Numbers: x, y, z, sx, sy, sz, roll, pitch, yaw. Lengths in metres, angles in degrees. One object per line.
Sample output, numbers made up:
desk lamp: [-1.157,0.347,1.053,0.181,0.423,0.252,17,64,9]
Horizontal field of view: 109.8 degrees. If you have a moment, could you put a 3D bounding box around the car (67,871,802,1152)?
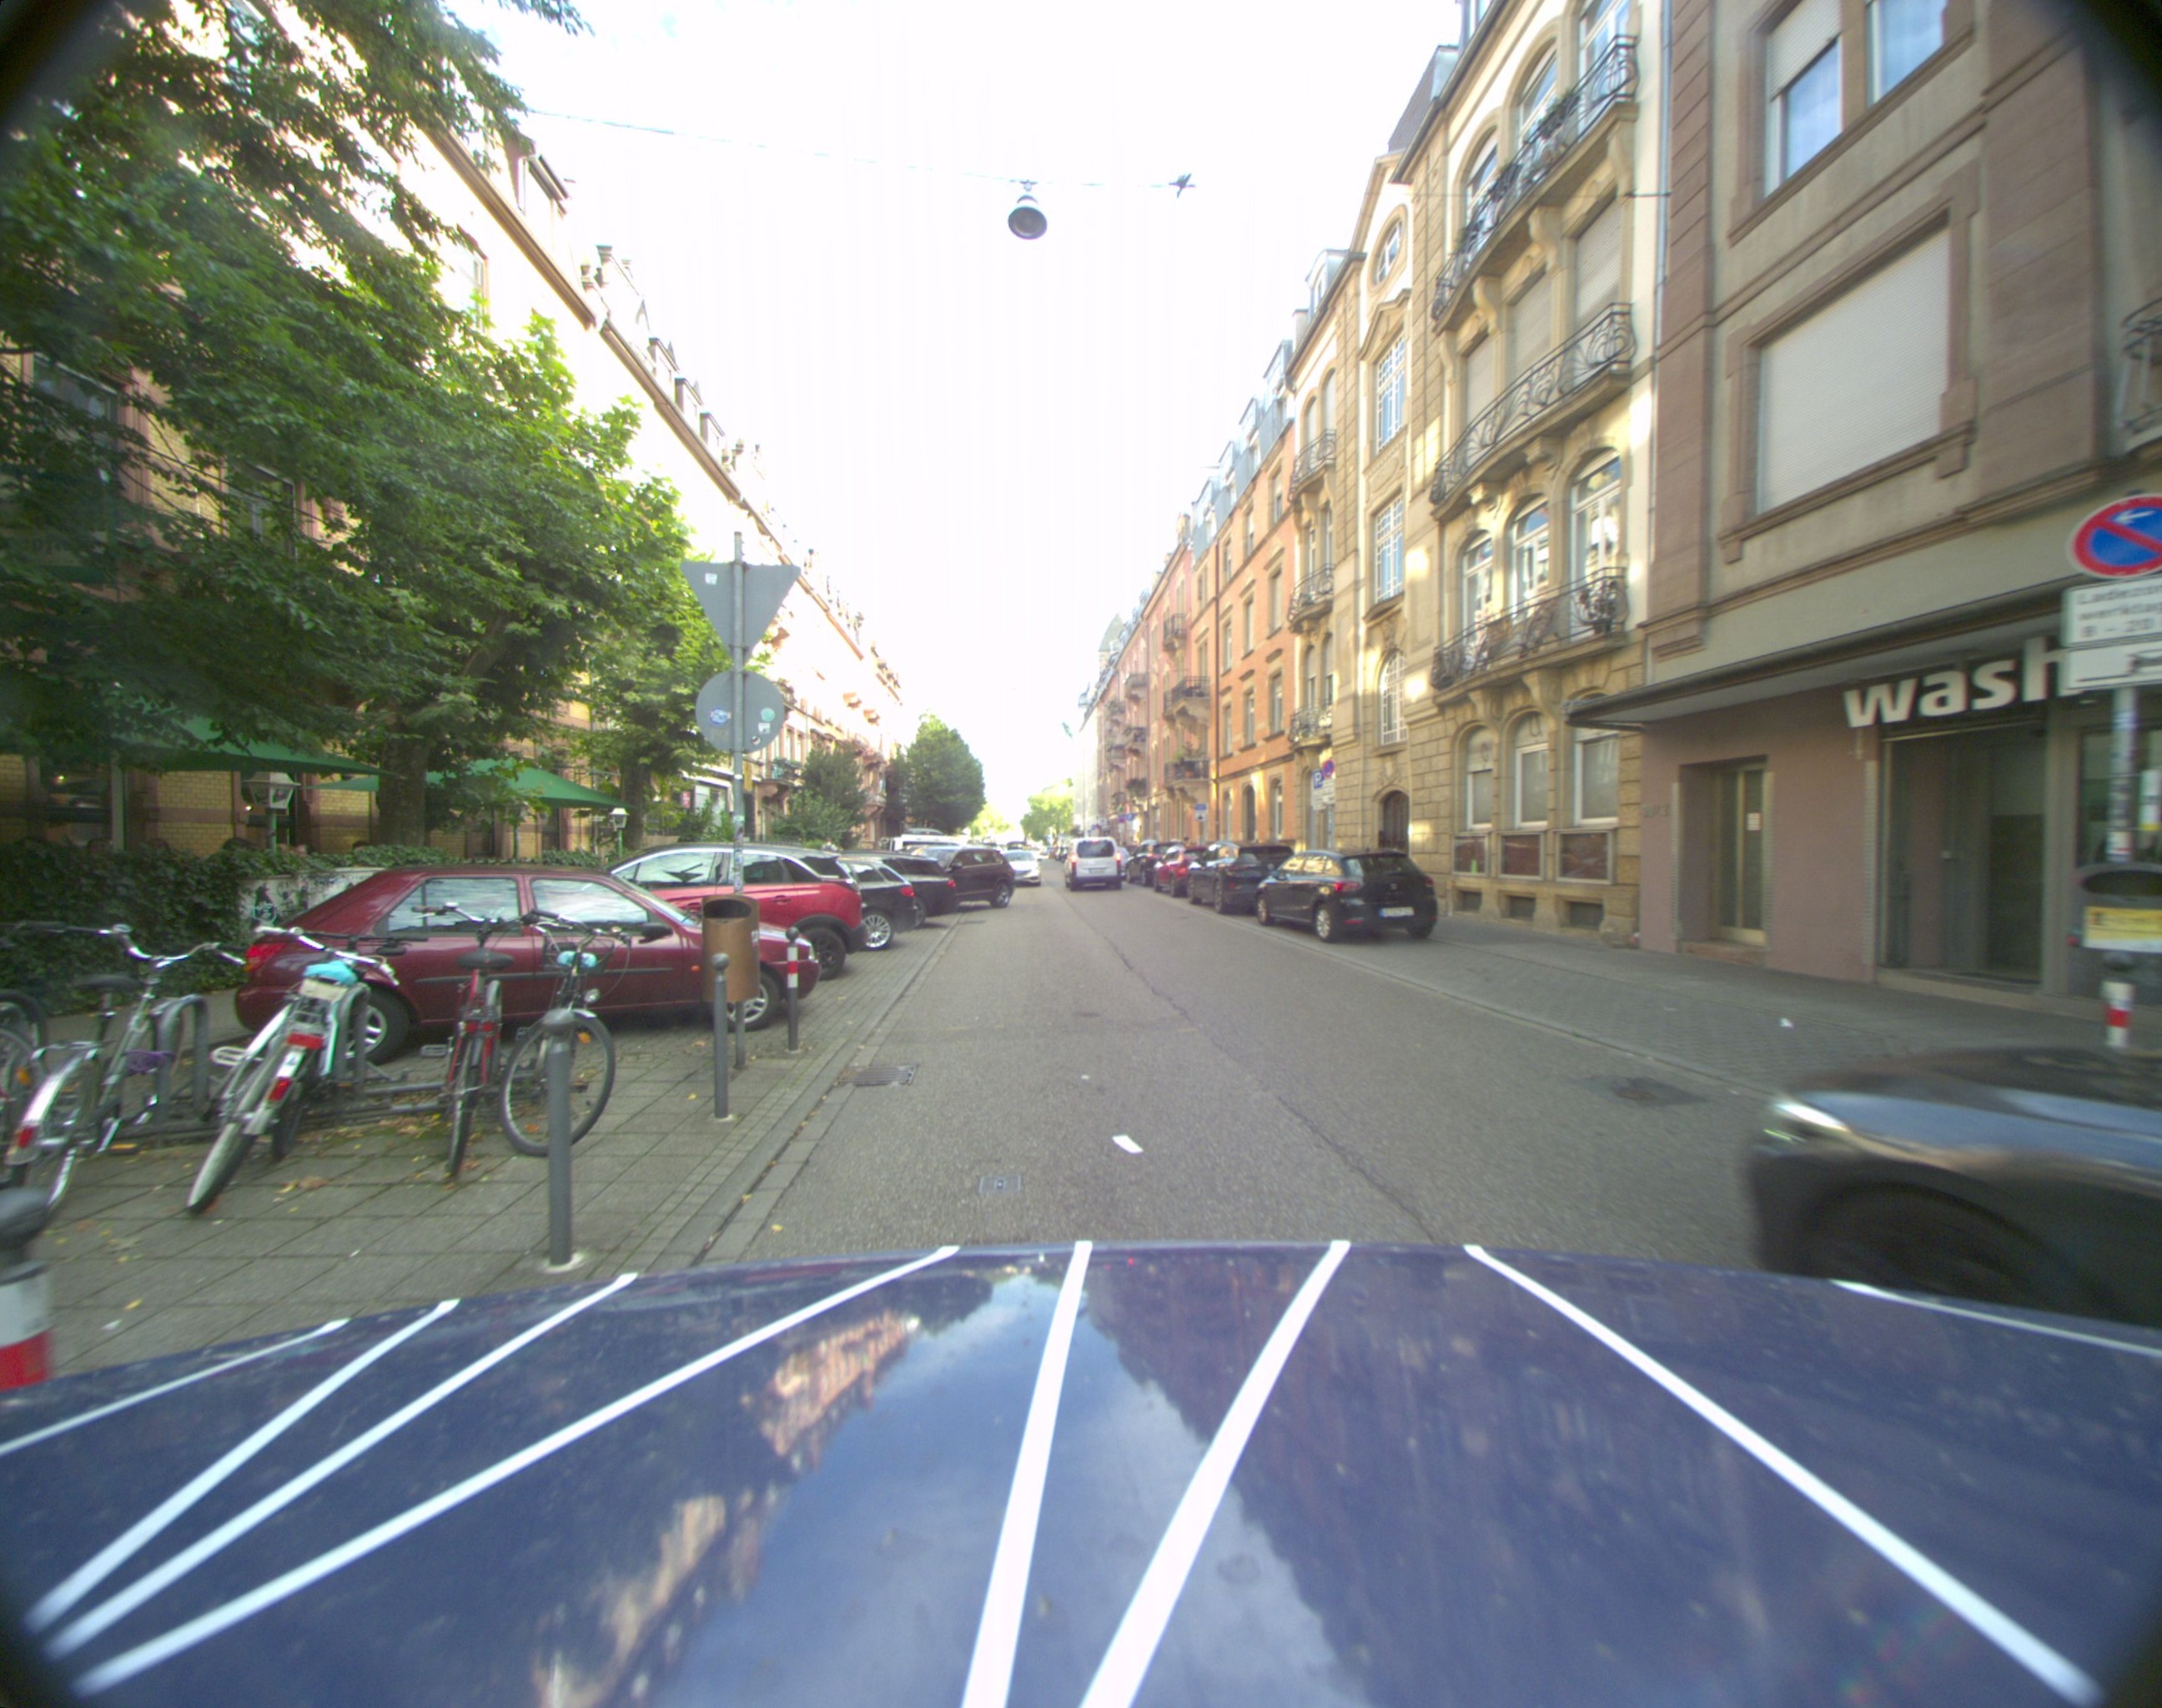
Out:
car: [-4.506,0.928,6.096,3.951,1.448,1.765,-1,1,-33]

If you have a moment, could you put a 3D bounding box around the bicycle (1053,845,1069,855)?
bicycle: [-2.373,-0.464,91.445,1.873,1.168,0.687,-2,2,-3]

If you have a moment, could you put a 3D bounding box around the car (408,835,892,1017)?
car: [-4.613,0.694,8.722,4.363,1.635,1.817,2,0,-31]

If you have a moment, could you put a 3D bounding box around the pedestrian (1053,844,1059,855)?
pedestrian: [-3.030,-0.542,93.098,0.739,1.341,0.644,-2,2,-2]

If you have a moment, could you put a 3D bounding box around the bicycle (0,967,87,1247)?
bicycle: [-4.253,1.061,2.616,0.390,1.034,1.915,3,0,-34]

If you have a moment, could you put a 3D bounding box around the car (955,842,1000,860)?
car: [-10.095,-0.290,74.323,4.008,1.689,1.847,0,0,-40]

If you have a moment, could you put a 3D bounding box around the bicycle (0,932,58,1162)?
bicycle: [-5.095,0.966,3.187,0.355,1.067,1.793,3,0,-34]

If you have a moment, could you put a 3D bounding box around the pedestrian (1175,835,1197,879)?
pedestrian: [4.408,0.114,31.900,0.758,1.798,0.863,-2,2,-1]

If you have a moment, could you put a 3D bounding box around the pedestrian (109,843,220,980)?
pedestrian: [-11.261,0.691,9.356,0.648,1.633,0.563,2,1,-9]

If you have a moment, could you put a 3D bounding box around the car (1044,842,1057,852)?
car: [-4.910,-1.114,121.099,1.912,1.412,3.997,-2,1,-5]

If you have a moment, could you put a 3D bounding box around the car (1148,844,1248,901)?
car: [3.452,0.481,23.297,1.999,1.536,4.423,0,1,-6]

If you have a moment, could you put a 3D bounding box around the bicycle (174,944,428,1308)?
bicycle: [-3.599,1.086,3.661,0.348,1.034,2.012,3,0,-32]

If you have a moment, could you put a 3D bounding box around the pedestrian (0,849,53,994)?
pedestrian: [-11.938,0.724,8.279,0.630,1.561,0.570,0,1,-9]

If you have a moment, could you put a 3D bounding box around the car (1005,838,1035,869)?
car: [-4.054,-0.071,50.864,1.811,1.915,3.998,-3,1,-4]

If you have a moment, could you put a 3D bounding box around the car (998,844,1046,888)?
car: [-2.439,0.455,31.648,1.811,1.622,3.998,-3,1,-4]

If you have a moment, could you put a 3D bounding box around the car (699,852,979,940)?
car: [-4.603,0.745,14.721,4.777,1.448,2.051,2,-1,-33]

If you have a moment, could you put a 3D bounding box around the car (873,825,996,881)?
car: [-6.589,-0.066,34.450,5.170,2.391,1.912,0,1,-38]

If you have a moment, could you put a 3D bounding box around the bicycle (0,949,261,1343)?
bicycle: [-4.130,1.051,3.214,0.446,1.034,1.900,3,0,-34]

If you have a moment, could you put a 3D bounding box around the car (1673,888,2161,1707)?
car: [3.103,0.907,0.456,1.756,1.428,4.206,-1,2,-11]

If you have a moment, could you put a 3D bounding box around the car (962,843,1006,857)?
car: [-11.517,-0.483,90.538,4.818,1.535,1.865,1,1,-37]

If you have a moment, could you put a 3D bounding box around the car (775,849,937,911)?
car: [-5.908,0.650,20.169,3.728,1.476,1.736,1,0,-43]

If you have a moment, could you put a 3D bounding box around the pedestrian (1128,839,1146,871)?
pedestrian: [2.892,0.060,39.502,0.683,1.652,0.550,-3,2,-35]

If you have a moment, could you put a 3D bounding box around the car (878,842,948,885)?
car: [-6.924,0.415,31.330,2.473,1.656,1.343,3,-1,-31]

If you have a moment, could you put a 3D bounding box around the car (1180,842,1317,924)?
car: [3.715,0.544,17.831,1.796,1.619,4.844,0,1,-5]

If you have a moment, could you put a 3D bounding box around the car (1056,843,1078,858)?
car: [-1.489,-0.366,78.675,1.675,1.407,4.008,-2,1,-8]

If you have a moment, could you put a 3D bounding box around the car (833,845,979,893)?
car: [-5.889,0.536,25.969,4.479,1.468,1.884,3,-1,-44]

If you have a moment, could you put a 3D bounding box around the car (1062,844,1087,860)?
car: [-0.626,-0.175,68.858,1.817,1.343,5.111,-1,1,-6]

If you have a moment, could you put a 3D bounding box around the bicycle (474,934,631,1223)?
bicycle: [-2.906,1.072,4.223,0.551,1.034,1.852,3,0,-34]

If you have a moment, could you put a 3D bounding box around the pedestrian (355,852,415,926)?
pedestrian: [-11.951,0.590,13.056,0.489,1.212,0.649,2,1,-13]

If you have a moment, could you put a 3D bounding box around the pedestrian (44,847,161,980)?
pedestrian: [-11.917,0.697,9.277,0.630,1.561,0.570,0,1,-9]

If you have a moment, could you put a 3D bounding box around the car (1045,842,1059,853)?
car: [-4.386,-1.020,114.981,1.829,1.477,4.167,-2,1,-5]

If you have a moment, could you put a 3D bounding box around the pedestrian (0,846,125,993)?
pedestrian: [-11.240,0.691,8.375,0.630,1.561,0.570,0,1,-9]

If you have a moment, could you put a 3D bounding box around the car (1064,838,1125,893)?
car: [0.400,0.346,27.710,1.923,1.818,4.436,-2,1,-2]

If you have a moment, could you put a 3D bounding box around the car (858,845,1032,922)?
car: [-3.298,0.647,19.373,1.871,1.644,4.394,-1,1,32]

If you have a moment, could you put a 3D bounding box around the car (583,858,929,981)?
car: [-4.727,0.828,11.391,4.422,1.448,1.938,-1,1,-29]

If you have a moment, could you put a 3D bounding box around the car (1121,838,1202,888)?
car: [2.950,0.308,29.006,1.879,1.671,4.890,-2,1,-8]

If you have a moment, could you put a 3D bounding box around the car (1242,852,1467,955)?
car: [4.381,0.691,13.000,1.999,1.412,4.241,0,1,-6]

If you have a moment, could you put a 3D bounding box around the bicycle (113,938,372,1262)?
bicycle: [-4.084,1.055,3.835,0.348,1.034,1.852,3,0,-32]

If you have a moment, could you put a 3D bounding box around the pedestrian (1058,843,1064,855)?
pedestrian: [-2.434,-0.588,92.567,0.690,1.365,0.739,-2,2,-1]

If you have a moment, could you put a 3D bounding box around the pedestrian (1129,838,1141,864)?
pedestrian: [3.567,-0.189,50.320,0.665,1.686,0.763,-2,2,-5]

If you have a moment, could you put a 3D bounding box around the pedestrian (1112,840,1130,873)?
pedestrian: [2.078,0.118,39.685,0.566,1.699,0.666,-3,2,-40]

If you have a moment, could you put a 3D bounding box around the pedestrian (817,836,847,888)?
pedestrian: [-9.076,0.297,27.726,0.841,1.867,0.722,0,1,-1]

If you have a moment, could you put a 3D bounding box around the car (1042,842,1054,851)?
car: [-5.520,-1.229,127.239,1.912,1.412,3.997,-2,1,-5]

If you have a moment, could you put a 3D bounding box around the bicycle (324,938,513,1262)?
bicycle: [-3.262,1.064,3.868,0.462,1.034,1.852,3,0,-34]

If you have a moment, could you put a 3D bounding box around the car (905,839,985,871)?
car: [-8.337,0.068,46.893,4.651,1.774,1.809,2,-1,-6]

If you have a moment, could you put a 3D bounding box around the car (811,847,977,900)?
car: [-5.607,0.582,23.082,4.478,1.456,1.874,2,-1,-39]
